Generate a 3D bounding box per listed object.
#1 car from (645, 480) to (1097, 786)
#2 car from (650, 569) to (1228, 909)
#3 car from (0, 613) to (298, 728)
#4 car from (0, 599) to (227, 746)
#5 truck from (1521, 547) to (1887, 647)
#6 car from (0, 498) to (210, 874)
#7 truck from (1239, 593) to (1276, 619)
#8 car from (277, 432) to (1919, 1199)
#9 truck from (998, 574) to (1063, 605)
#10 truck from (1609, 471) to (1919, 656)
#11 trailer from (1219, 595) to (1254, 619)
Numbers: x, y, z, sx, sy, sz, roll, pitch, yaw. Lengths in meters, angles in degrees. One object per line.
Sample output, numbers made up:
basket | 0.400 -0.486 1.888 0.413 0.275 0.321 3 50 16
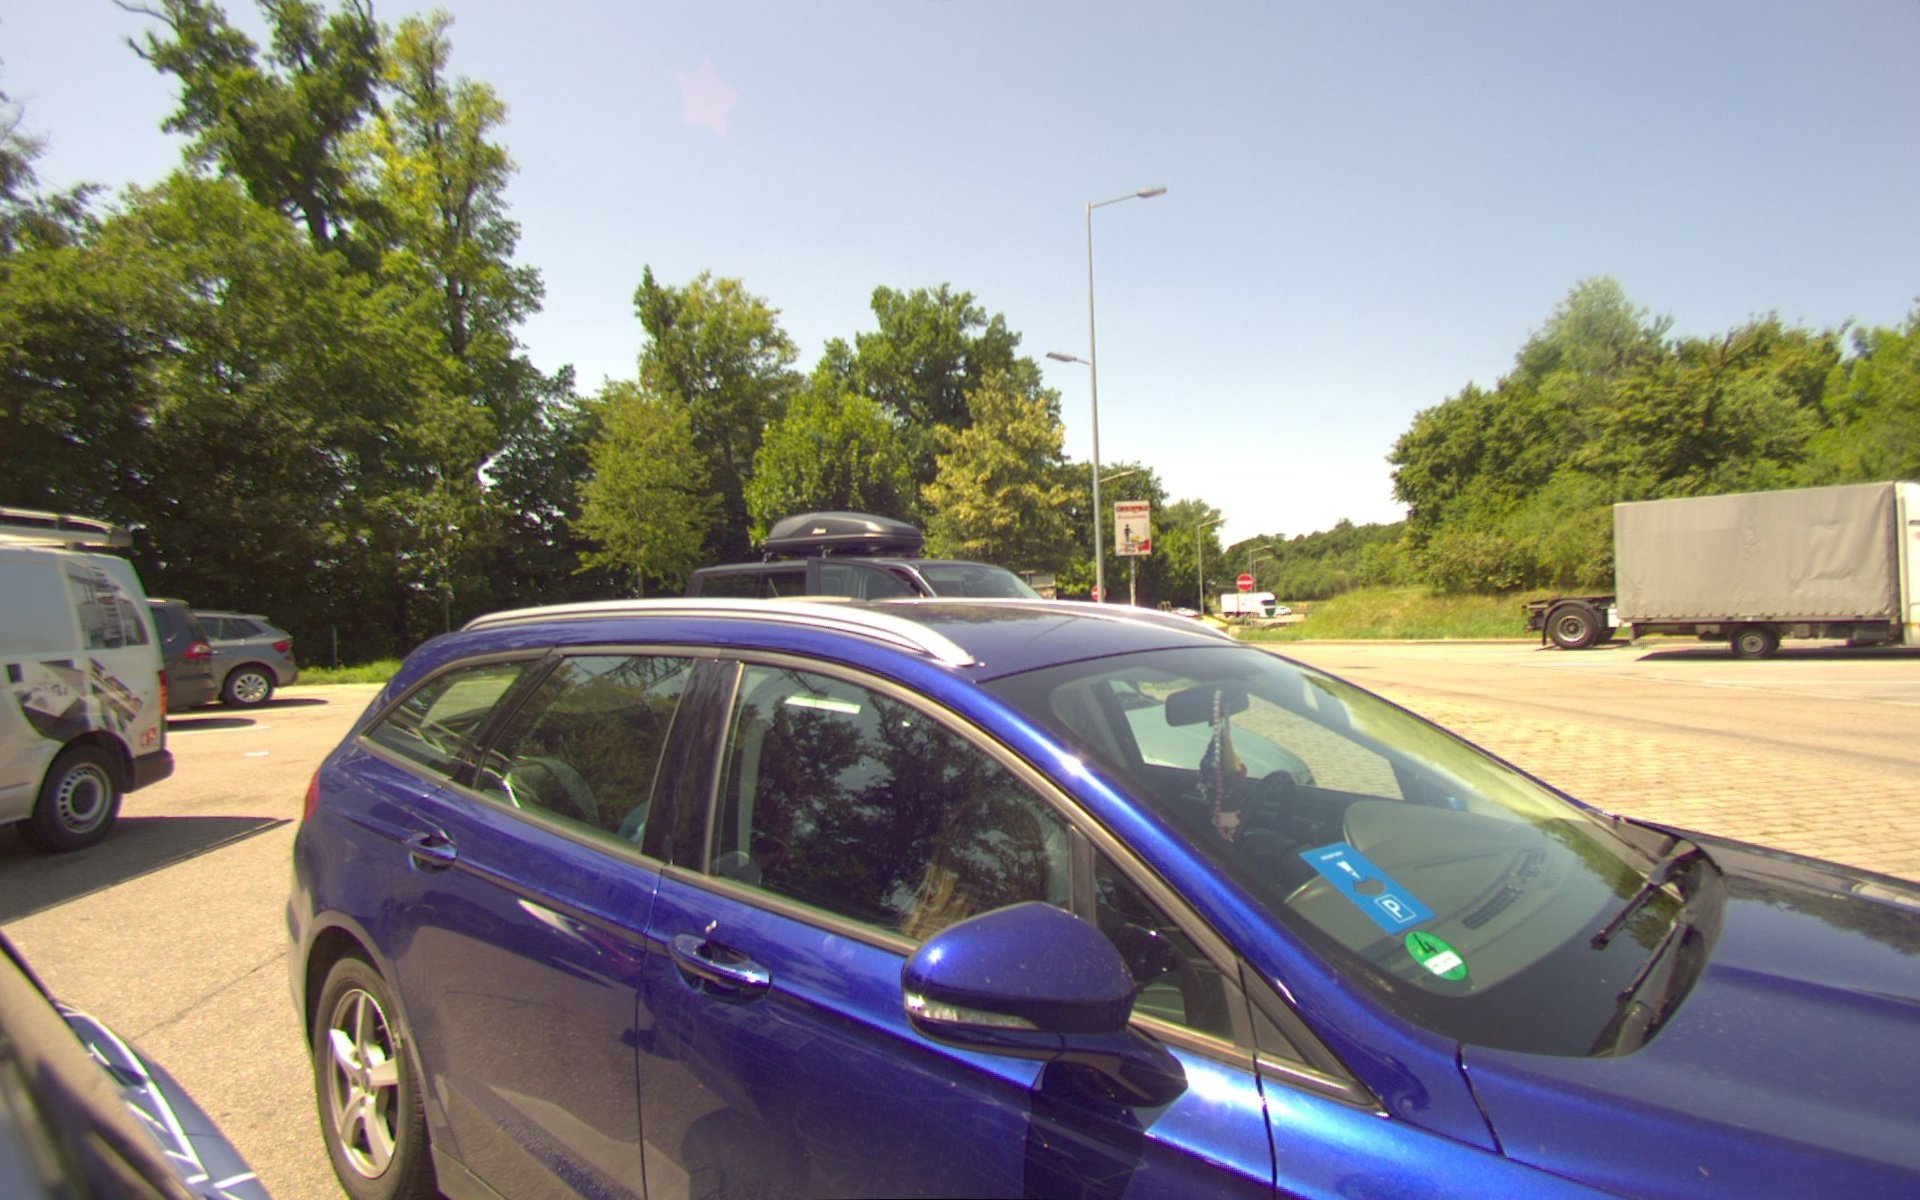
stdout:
car | -0.954 0.316 9.638 4.076 2.336 1.767 -2 -1 35
car | -0.270 0.597 5.618 3.112 1.370 1.326 -2 -1 41
car | -12.522 0.997 15.722 3.535 1.513 1.708 -1 0 -42
car | -11.648 0.869 12.644 1.755 1.701 3.798 -2 -1 45
truck | 17.024 0.036 23.578 6.613 2.029 1.973 -2 -1 41
car | -6.251 0.473 4.741 1.816 2.121 5.440 0 -1 -5
truck | 48.318 1.081 164.553 2.543 4.045 8.564 -1 -1 -7
car | 0.247 0.633 2.122 4.411 1.429 1.721 -2 -1 41
truck | 3.407 -0.474 48.856 2.866 1.386 1.158 -2 -1 22
truck | 16.562 -0.608 18.808 7.253 3.175 2.148 -2 -1 41
trailer | 47.268 1.248 173.056 2.543 3.981 8.719 -1 -1 -7
